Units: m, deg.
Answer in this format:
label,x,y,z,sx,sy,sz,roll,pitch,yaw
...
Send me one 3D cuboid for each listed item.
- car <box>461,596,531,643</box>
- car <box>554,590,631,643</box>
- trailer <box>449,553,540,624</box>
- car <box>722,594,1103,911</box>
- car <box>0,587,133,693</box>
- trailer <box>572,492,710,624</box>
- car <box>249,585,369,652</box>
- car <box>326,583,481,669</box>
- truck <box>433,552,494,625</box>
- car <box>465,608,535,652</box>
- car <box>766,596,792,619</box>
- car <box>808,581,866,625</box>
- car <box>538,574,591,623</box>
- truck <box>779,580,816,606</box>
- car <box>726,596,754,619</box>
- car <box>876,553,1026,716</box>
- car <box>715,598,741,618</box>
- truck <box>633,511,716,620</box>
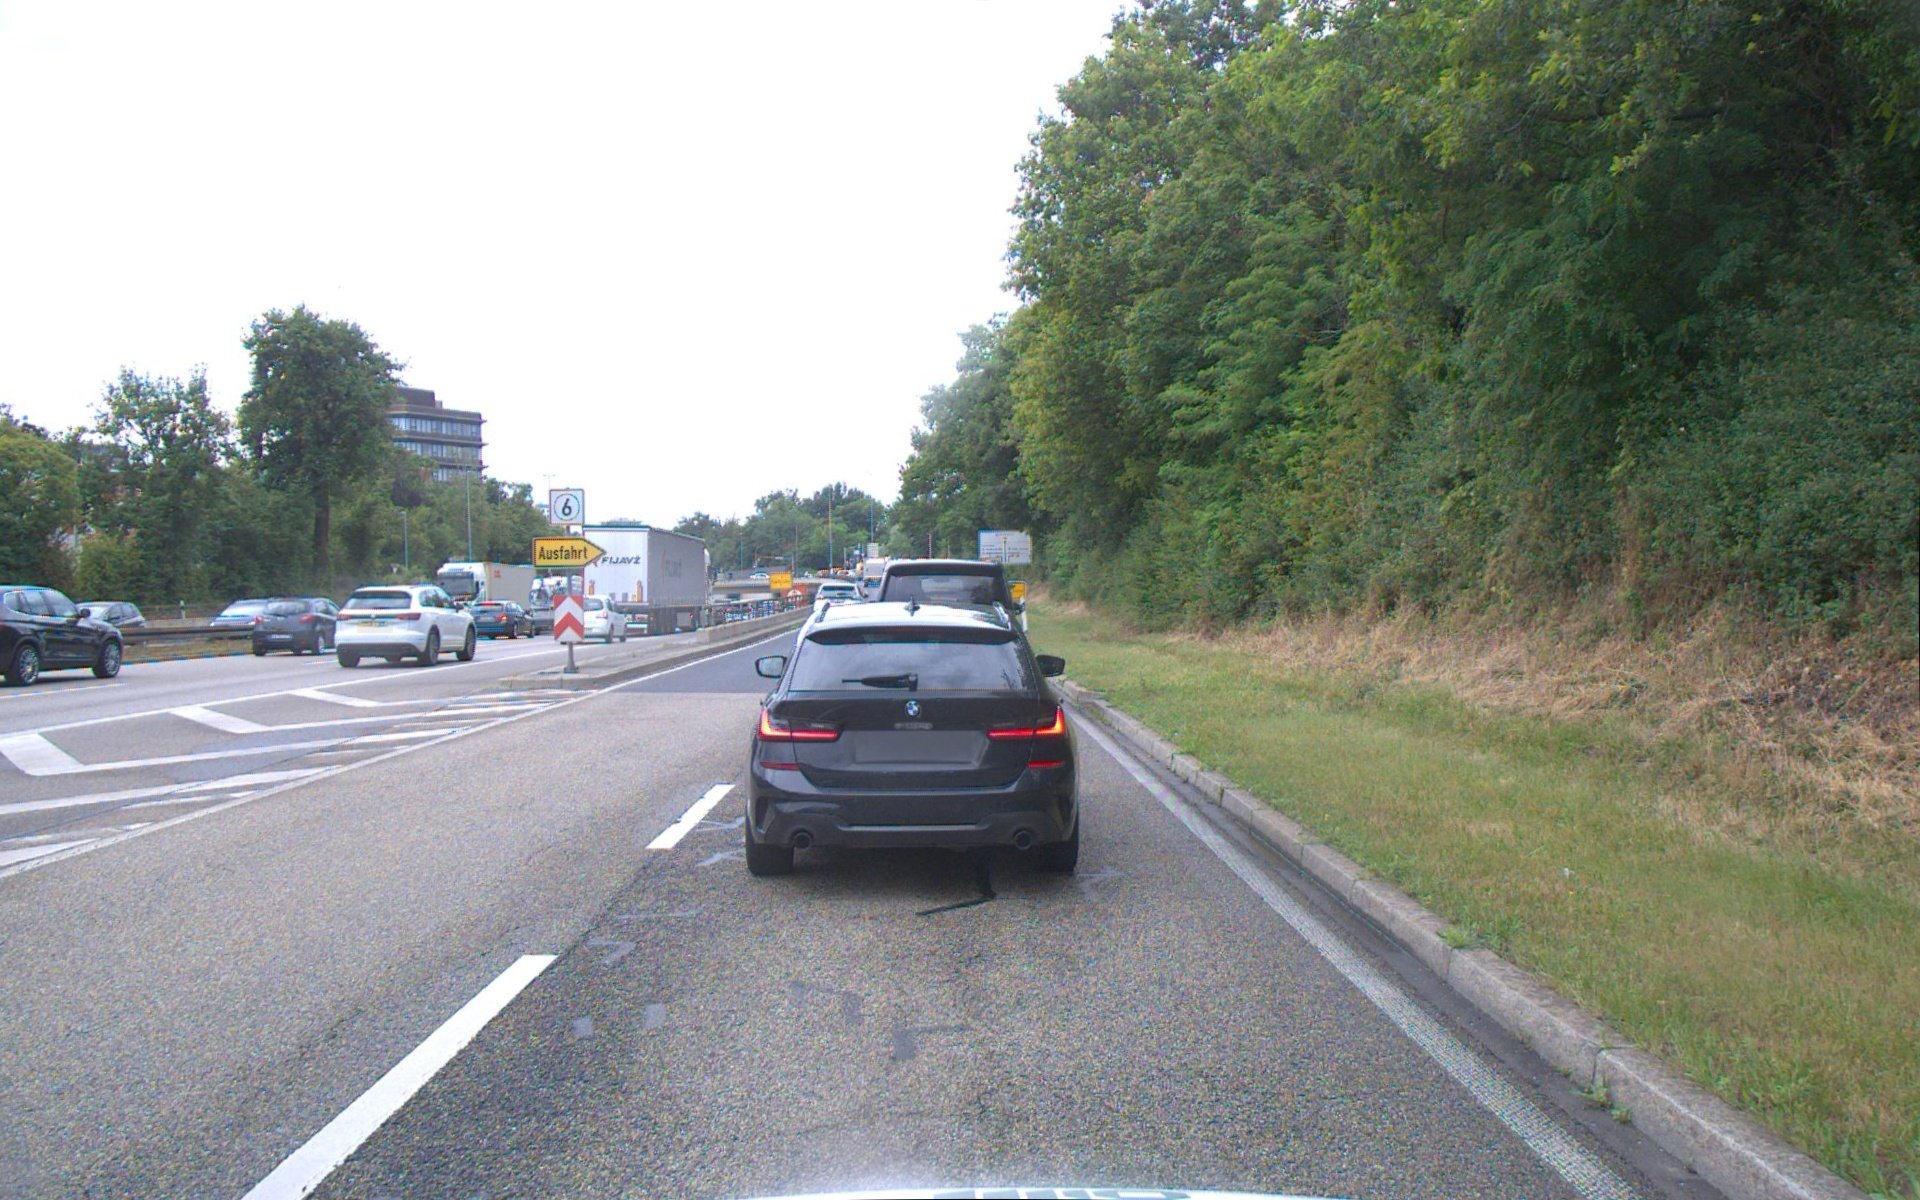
label,x,y,z,sx,sy,sz,roll,pitch,yaw
car,-17.424,0.717,62.239,1.653,1.660,3.733,1,0,-2
car,-11.497,0.483,51.917,1.733,1.576,3.491,-1,0,-2
trailer,-28.875,-0.699,103.328,2.349,4.099,13.073,-1,0,-2
car,-0.307,0.714,9.875,1.809,1.492,3.998,0,0,-3
car,-16.318,0.646,28.741,1.852,1.711,4.305,-1,0,-2
trailer,-12.728,-1.550,67.587,3.069,4.807,14.554,0,0,-1
car,-16.962,0.452,43.260,1.653,1.636,4.006,1,0,-2
car,-12.018,0.517,36.044,1.906,1.721,4.506,-1,0,-1
truck,-28.630,-0.651,95.549,2.357,4.091,3.999,-1,0,-2
car,-14.826,0.937,53.479,1.357,1.329,3.350,-1,0,-1
car,-12.618,0.511,115.322,1.418,1.516,3.062,-1,0,0
car,-4.673,0.091,63.081,1.891,1.624,3.877,-1,0,0
car,-17.418,-0.083,72.967,1.414,2.080,3.680,-1,0,0
truck,-16.793,-0.729,171.411,3.208,2.553,7.658,-1,0,-1
car,-13.906,0.453,104.791,1.349,1.422,3.062,-1,0,0
car,-0.132,0.389,21.395,1.759,1.904,3.999,0,0,-1
car,-17.827,0.617,127.119,1.561,1.457,3.062,-1,0,0
truck,-12.881,-1.529,74.937,3.021,4.780,4.231,0,0,-1
